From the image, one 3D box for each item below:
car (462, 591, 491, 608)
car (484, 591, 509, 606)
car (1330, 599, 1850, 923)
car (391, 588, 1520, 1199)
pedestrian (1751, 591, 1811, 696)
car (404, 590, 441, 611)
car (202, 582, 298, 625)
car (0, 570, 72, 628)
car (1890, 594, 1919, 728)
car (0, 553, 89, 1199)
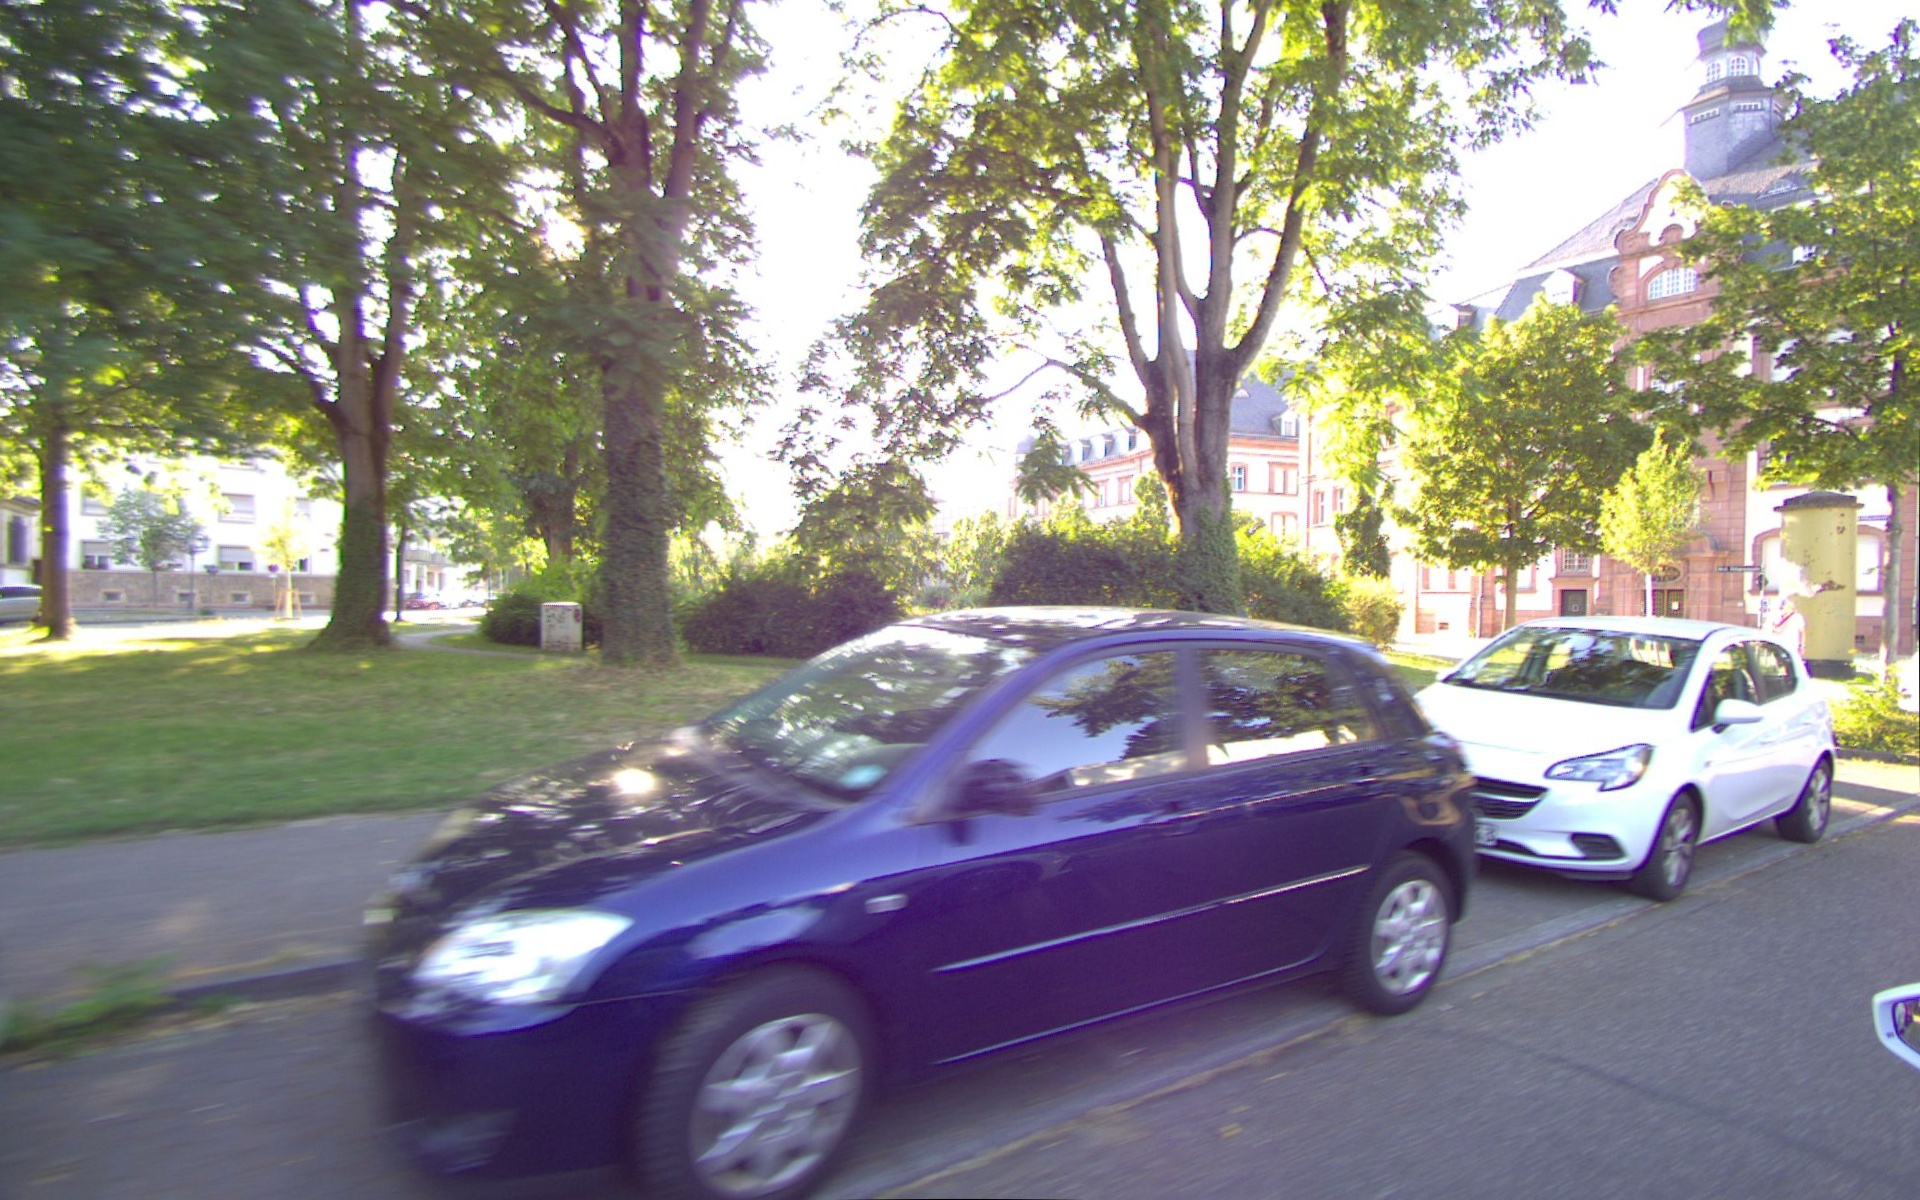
[{"bbox_3d":[-43.241,-0.073,89.847,1.658,1.432,3.865,1,0,-15],"label":"car"},{"bbox_3d":[-45.739,-0.175,99.155,1.658,1.432,3.865,1,0,-15],"label":"car"},{"bbox_3d":[4.280,0.806,6.628,3.828,1.546,1.581,1,0,-36],"label":"car"},{"bbox_3d":[0.186,0.756,3.671,3.898,1.514,1.543,1,0,-32],"label":"car"},{"bbox_3d":[14.508,0.748,17.751,0.938,1.808,0.594,1,0,-38],"label":"pedestrian"},{"bbox_3d":[-39.149,0.027,73.215,1.489,1.466,3.398,1,0,-12],"label":"car"},{"bbox_3d":[-33.331,0.158,47.305,1.822,1.911,4.141,1,0,-5],"label":"car"},{"bbox_3d":[-32.600,-0.062,33.871,1.822,1.911,4.141,1,0,-5],"label":"car"},{"bbox_3d":[15.579,0.890,14.886,4.508,1.865,1.769,1,0,-36],"label":"car"},{"bbox_3d":[-3.607,0.638,1.191,3.665,1.516,1.628,1,2,-33],"label":"car"}]
